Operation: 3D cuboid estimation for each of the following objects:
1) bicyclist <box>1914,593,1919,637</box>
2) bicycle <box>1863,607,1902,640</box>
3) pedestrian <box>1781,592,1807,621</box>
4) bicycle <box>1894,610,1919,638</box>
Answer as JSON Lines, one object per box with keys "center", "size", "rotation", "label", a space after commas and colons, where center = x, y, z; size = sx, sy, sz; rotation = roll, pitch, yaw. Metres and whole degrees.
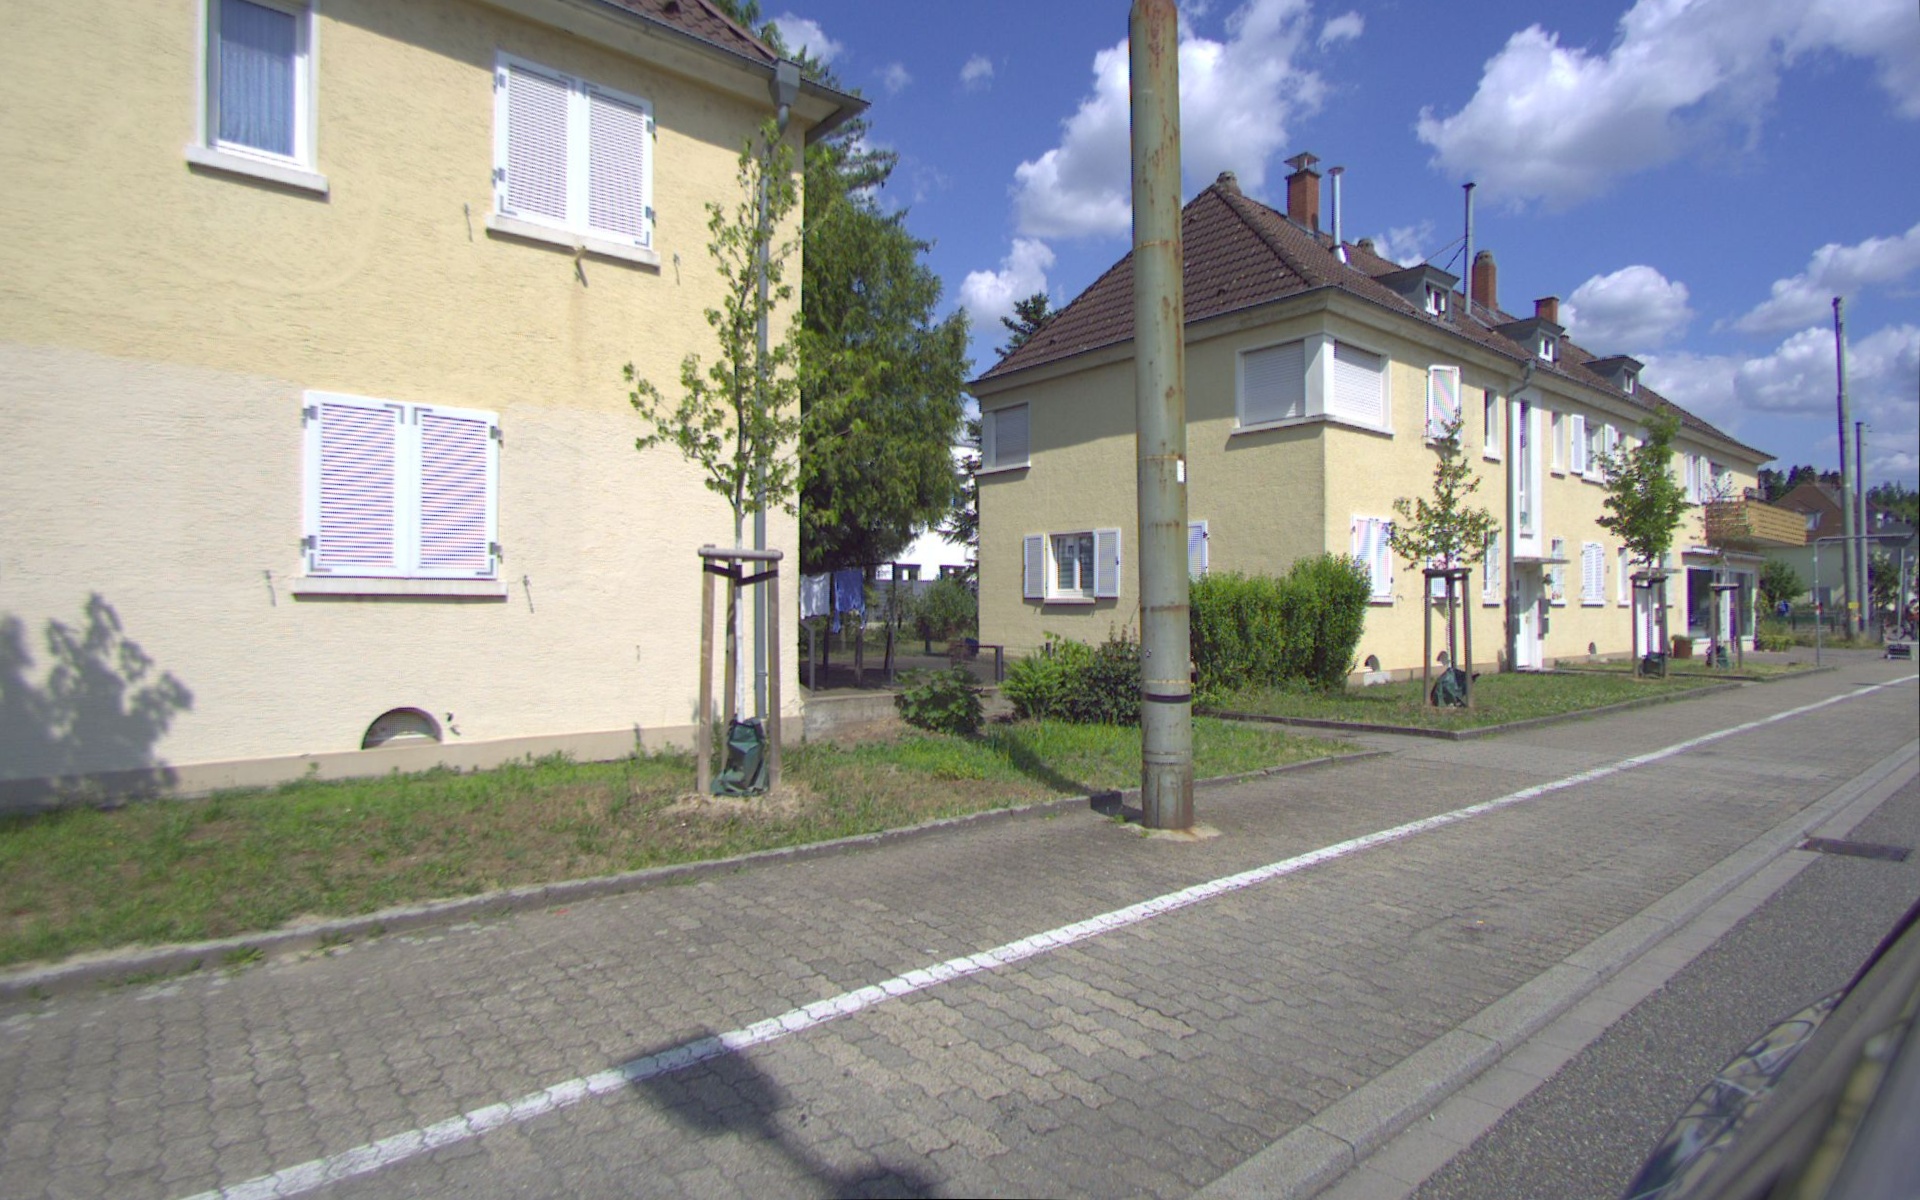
{"center": [39.572, 0.619, 41.192], "size": [0.953, 1.797, 0.711], "rotation": [0, -1, 32], "label": "bicyclist"}
{"center": [32.814, 0.824, 36.014], "size": [0.590, 1.110, 2.251], "rotation": [0, 0, 31], "label": "bicycle"}
{"center": [51.139, 0.383, 62.042], "size": [1.021, 1.757, 1.032], "rotation": [1, -1, -36], "label": "pedestrian"}
{"center": [39.502, 0.965, 41.221], "size": [2.017, 1.116, 0.707], "rotation": [0, 0, 31], "label": "bicycle"}
